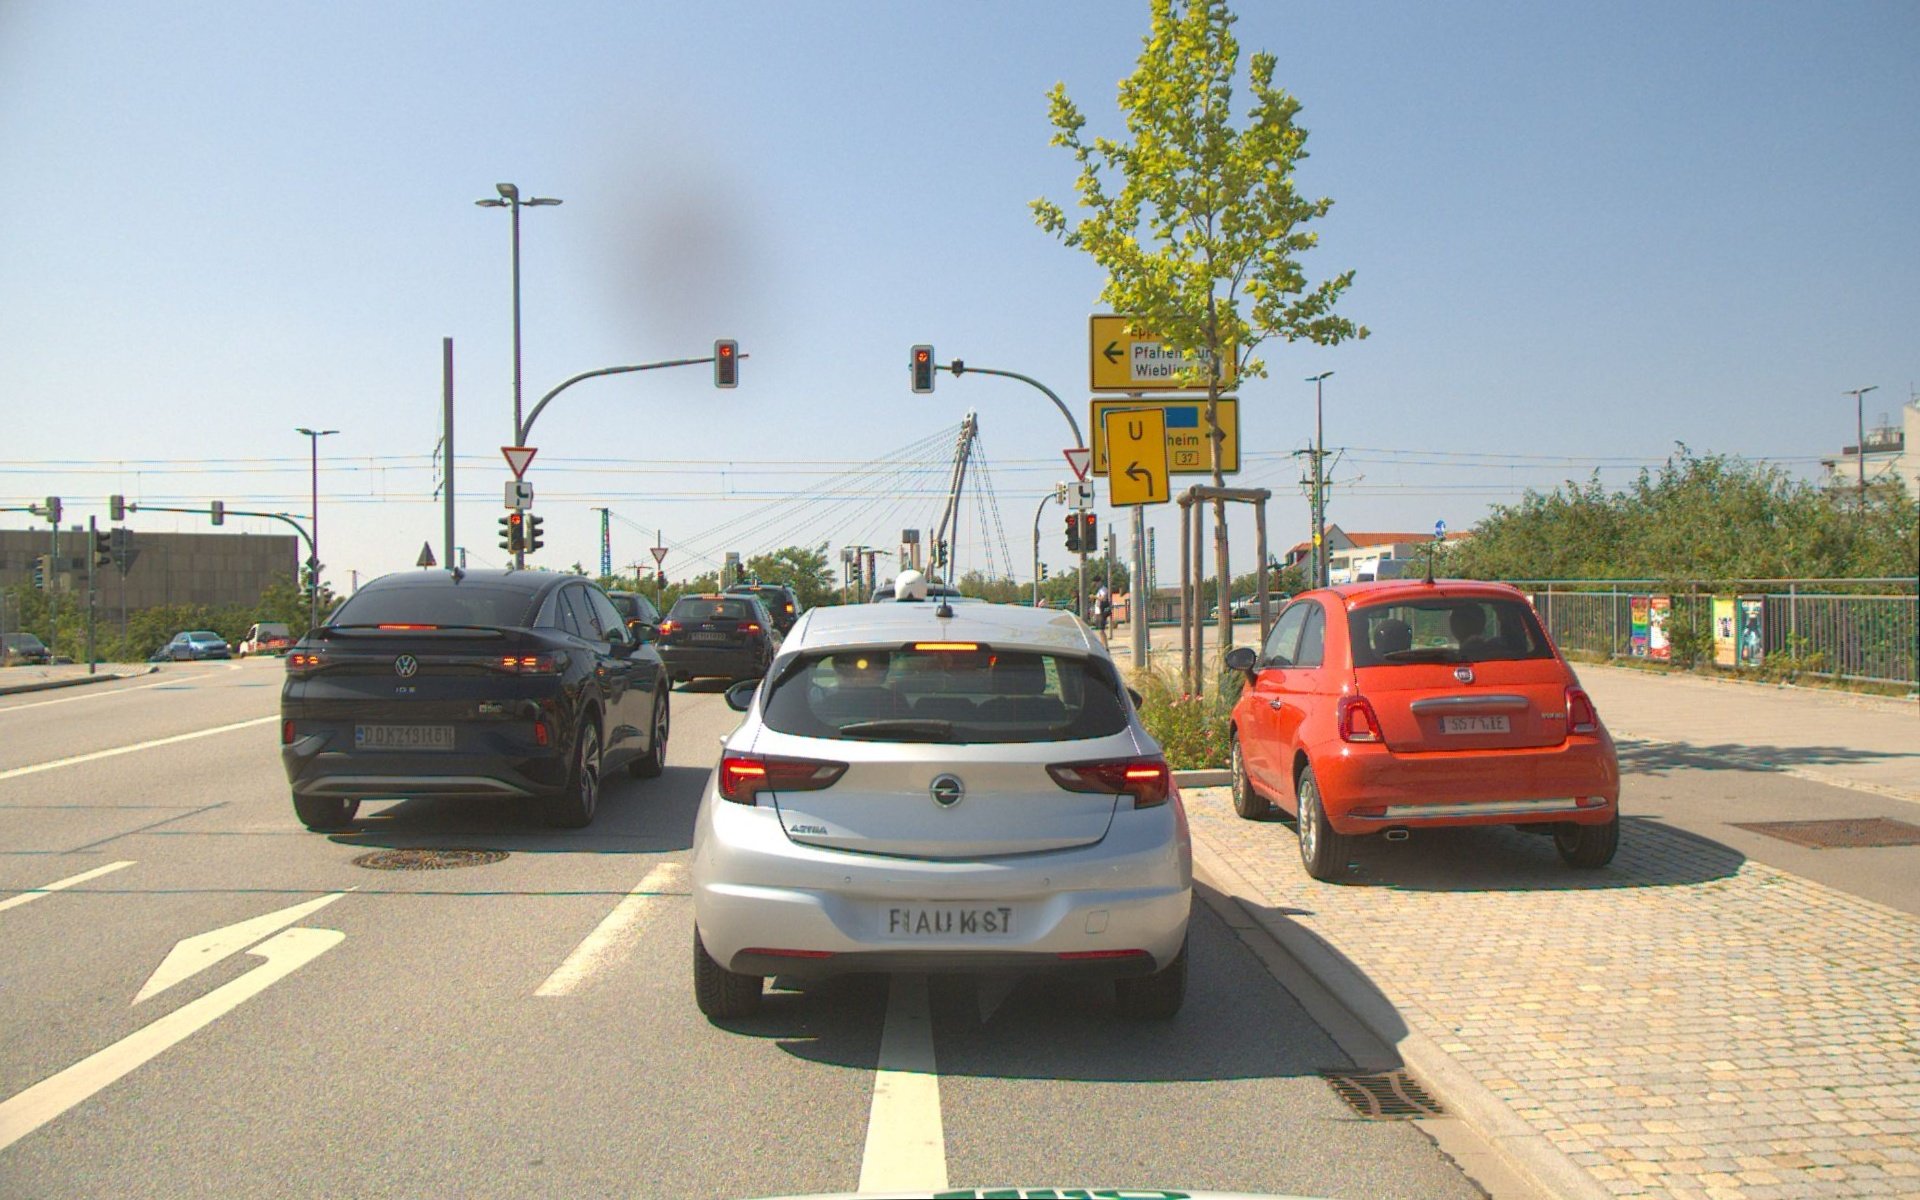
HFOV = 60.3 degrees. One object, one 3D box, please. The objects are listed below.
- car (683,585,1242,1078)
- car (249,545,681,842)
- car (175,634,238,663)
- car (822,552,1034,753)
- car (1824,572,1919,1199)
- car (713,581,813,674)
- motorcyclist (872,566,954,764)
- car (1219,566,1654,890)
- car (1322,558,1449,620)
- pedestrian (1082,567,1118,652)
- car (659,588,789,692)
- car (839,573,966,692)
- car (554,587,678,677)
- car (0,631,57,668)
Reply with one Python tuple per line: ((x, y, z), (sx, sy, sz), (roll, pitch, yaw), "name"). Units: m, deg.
((-0.094, 0.727, 7.106), (1.708, 1.503, 3.997), (1, 0, -3), "car")
((-3.196, 0.544, 11.647), (1.765, 1.670, 4.365), (1, 0, -1), "car")
((-36.268, 2.302, 79.568), (1.806, 1.354, 3.941), (1, -2, -40), "car")
((-0.331, 0.466, 17.689), (1.953, 1.852, 4.401), (1, 1, -1), "car")
((2.925, 0.626, 1.909), (1.627, 1.451, 3.999), (-2, 0, -2), "car")
((-3.697, 0.496, 31.562), (1.616, 1.643, 3.818), (1, 0, -3), "car")
((-0.343, 0.467, 12.235), (0.570, 1.413, 0.706), (1, -1, -1), "motorcyclist")
((2.599, 0.615, 9.783), (1.577, 1.522, 3.352), (-2, 0, 0), "car")
((17.169, -0.418, 66.712), (4.934, 2.418, 1.771), (1, -1, -24), "car")
((3.156, 0.212, 37.350), (0.634, 1.868, 0.797), (-2, 0, -3), "pedestrian")
((-3.575, 0.579, 25.582), (1.543, 1.459, 3.785), (1, 0, -2), "car")
((-0.802, 0.406, 24.393), (1.689, 1.591, 4.000), (1, 1, -1), "car")
((-6.375, 0.572, 31.017), (1.565, 1.574, 3.761), (1, 0, -1), "car")
((-41.192, 2.166, 73.121), (1.662, 1.502, 3.358), (-1, 1, -39), "car")
